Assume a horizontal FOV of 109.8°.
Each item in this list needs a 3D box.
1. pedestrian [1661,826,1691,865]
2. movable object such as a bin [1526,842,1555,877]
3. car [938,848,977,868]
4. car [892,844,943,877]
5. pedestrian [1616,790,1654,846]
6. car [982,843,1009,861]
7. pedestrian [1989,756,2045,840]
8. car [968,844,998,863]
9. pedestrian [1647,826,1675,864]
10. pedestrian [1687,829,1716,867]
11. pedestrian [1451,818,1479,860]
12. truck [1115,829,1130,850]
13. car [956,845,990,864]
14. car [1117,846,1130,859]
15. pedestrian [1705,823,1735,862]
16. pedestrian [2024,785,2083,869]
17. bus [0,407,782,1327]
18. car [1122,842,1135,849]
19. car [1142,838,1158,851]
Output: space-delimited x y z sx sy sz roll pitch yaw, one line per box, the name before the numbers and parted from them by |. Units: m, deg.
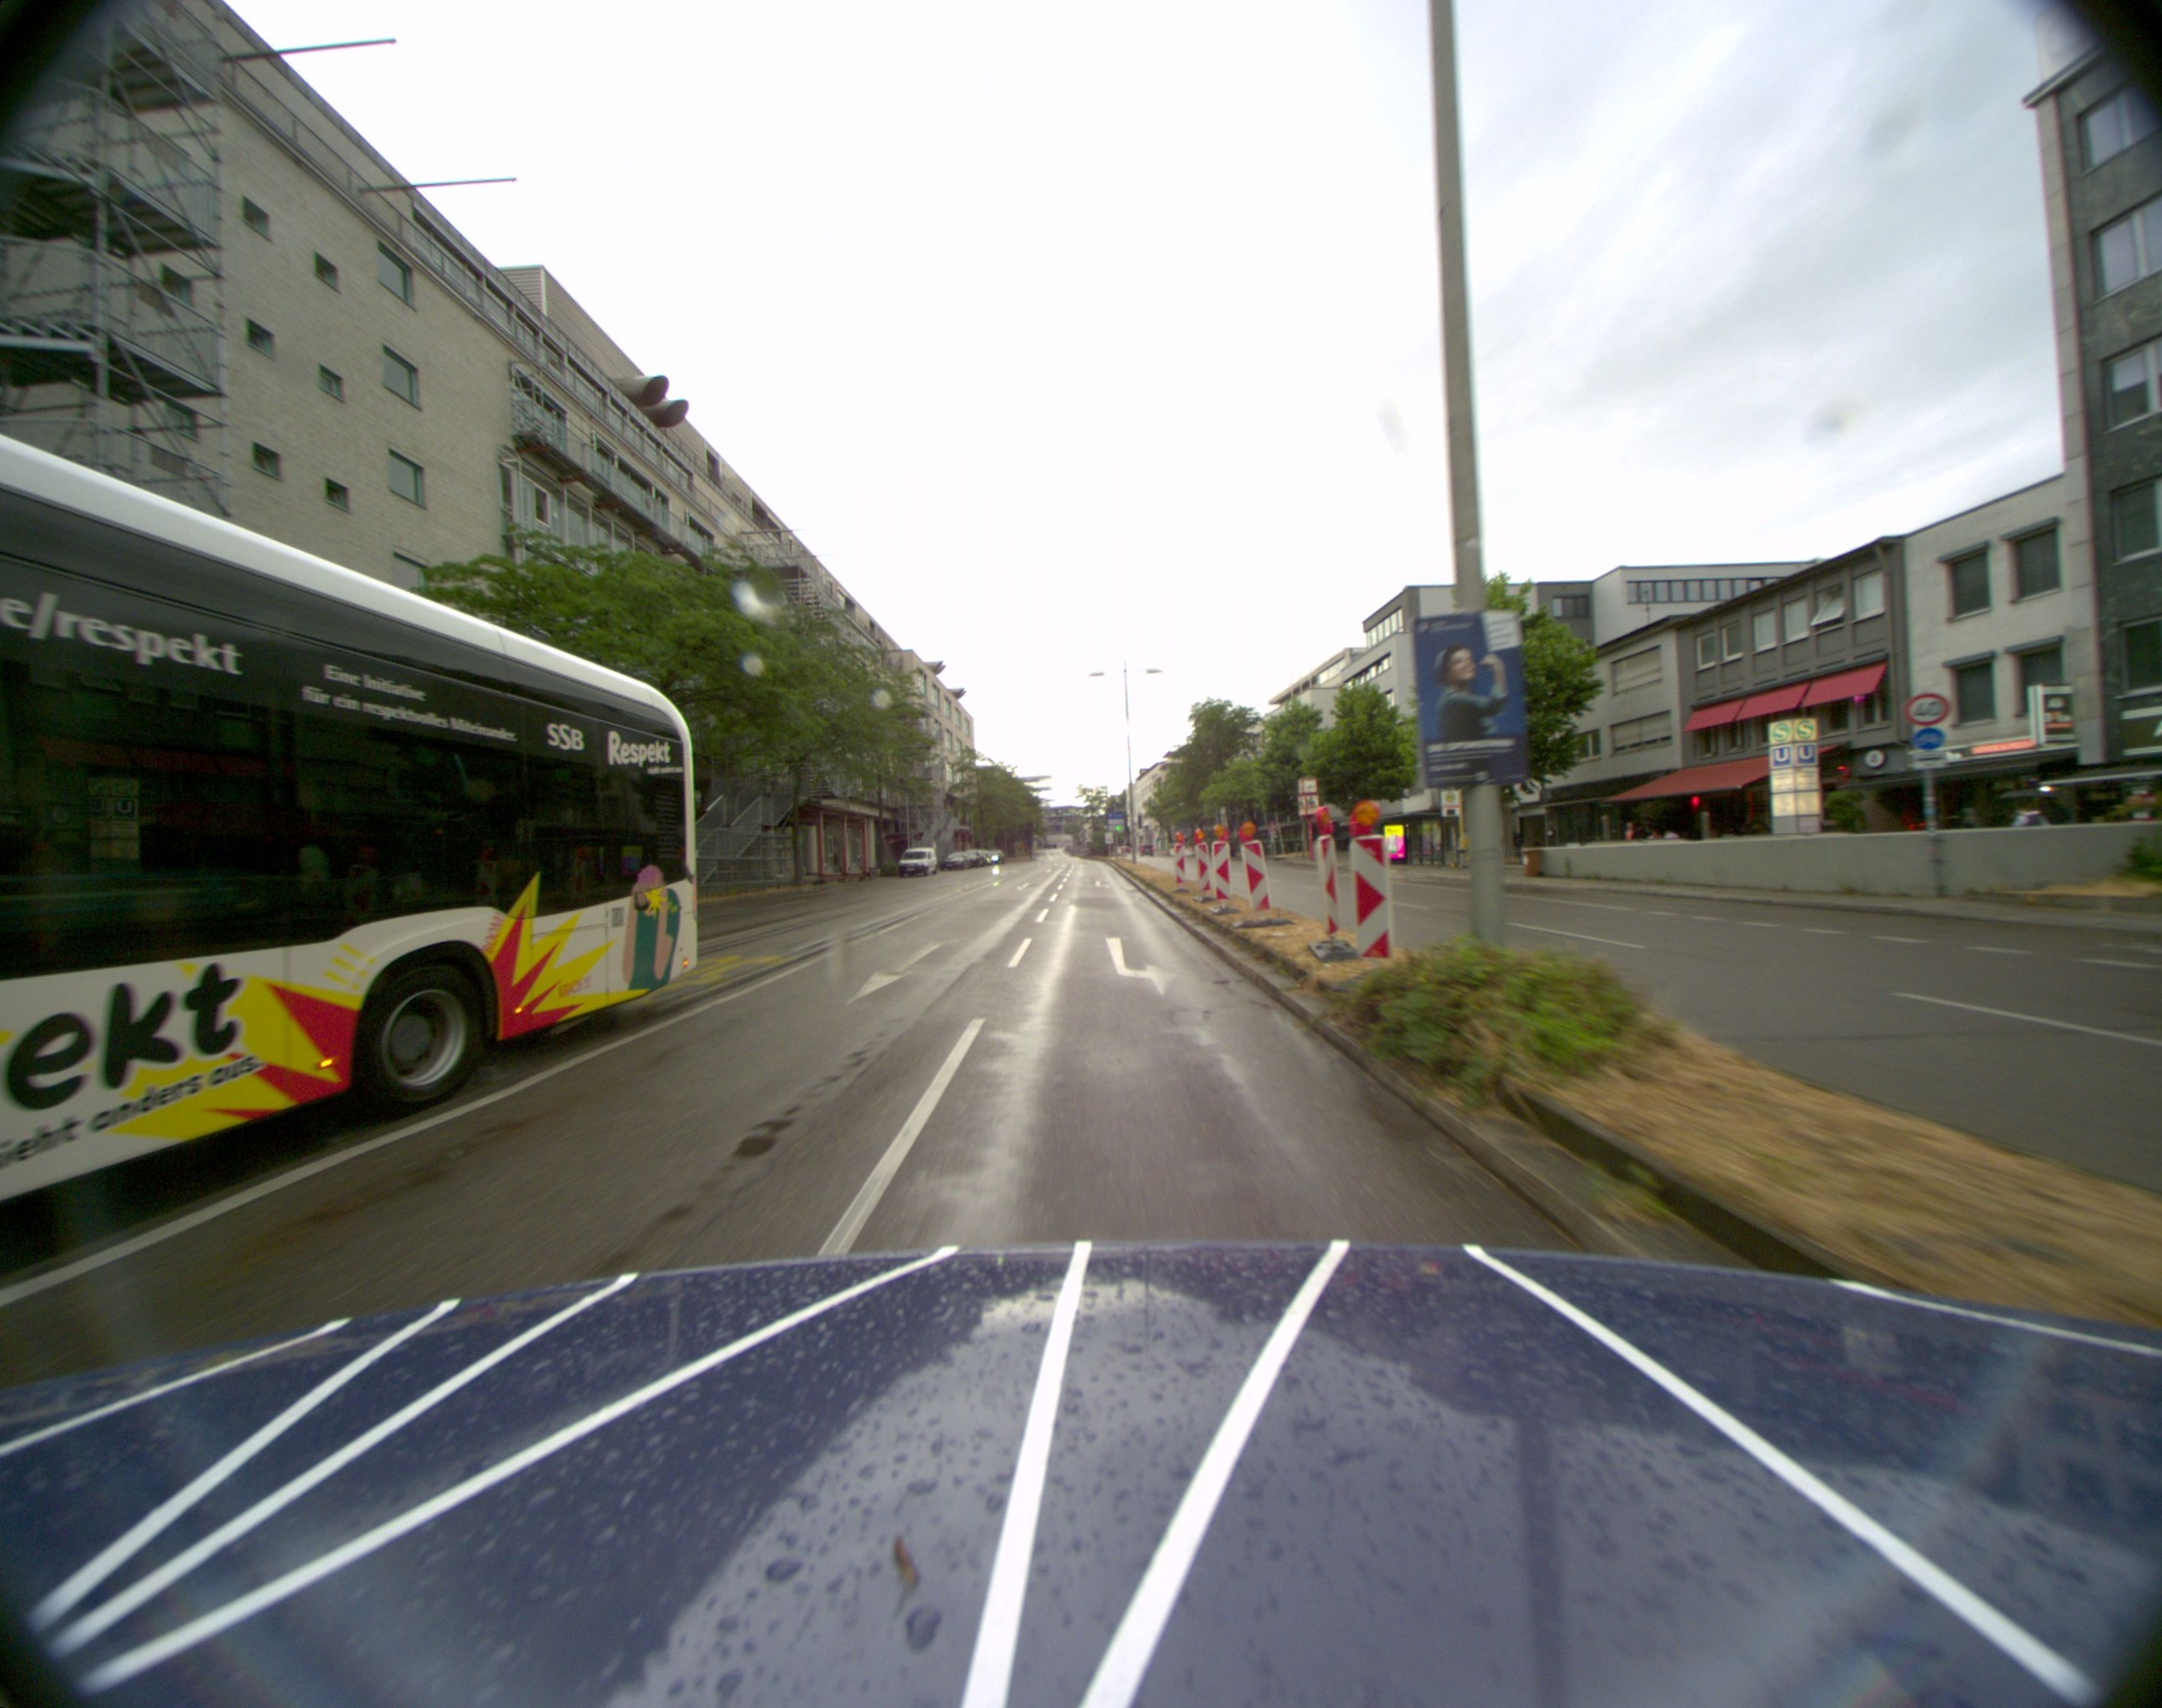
pedestrian | 23.296 -0.334 29.755 0.669 1.520 0.611 -2 1 3
movable object such as a bin | 14.647 0.167 24.233 0.507 1.094 0.660 -2 2 -2
car | -9.775 0.288 60.508 2.147 1.329 4.815 -2 1 1
car | -10.419 0.351 48.745 2.213 1.896 4.328 -2 2 1
pedestrian | 18.418 -1.178 25.252 0.611 1.813 0.791 -3 2 -17
car | -8.766 -0.199 78.502 2.147 1.637 4.815 -2 2 1
pedestrian | 23.085 -1.357 18.752 0.597 2.002 0.729 -1 1 21
car | -9.341 -0.075 72.768 2.147 1.552 4.815 -2 2 1
pedestrian | 23.448 -0.372 30.721 0.669 1.520 0.611 -2 1 3
pedestrian | 25.092 -0.235 30.721 0.669 1.520 0.611 -2 1 4
pedestrian | 19.235 -0.753 38.073 0.922 2.002 0.944 -2 2 0
truck | 7.271 -2.461 133.144 1.999 3.557 7.571 -2 1 -1
car | -9.505 0.043 67.300 2.147 1.486 4.815 -2 1 1
car | 7.139 -0.237 128.574 1.998 2.002 3.999 -2 2 2
pedestrian | 25.080 -0.454 29.839 0.669 1.520 0.611 -2 1 3
pedestrian | 23.715 -0.653 18.545 0.597 2.002 0.729 -1 1 21
bus | -5.433 0.025 4.861 2.890 3.420 9.708 -2 2 1
car | 10.064 -1.779 160.616 1.693 1.501 4.287 -2 1 -9
car | 10.842 -1.540 119.712 1.999 1.917 4.962 1 2 -1
